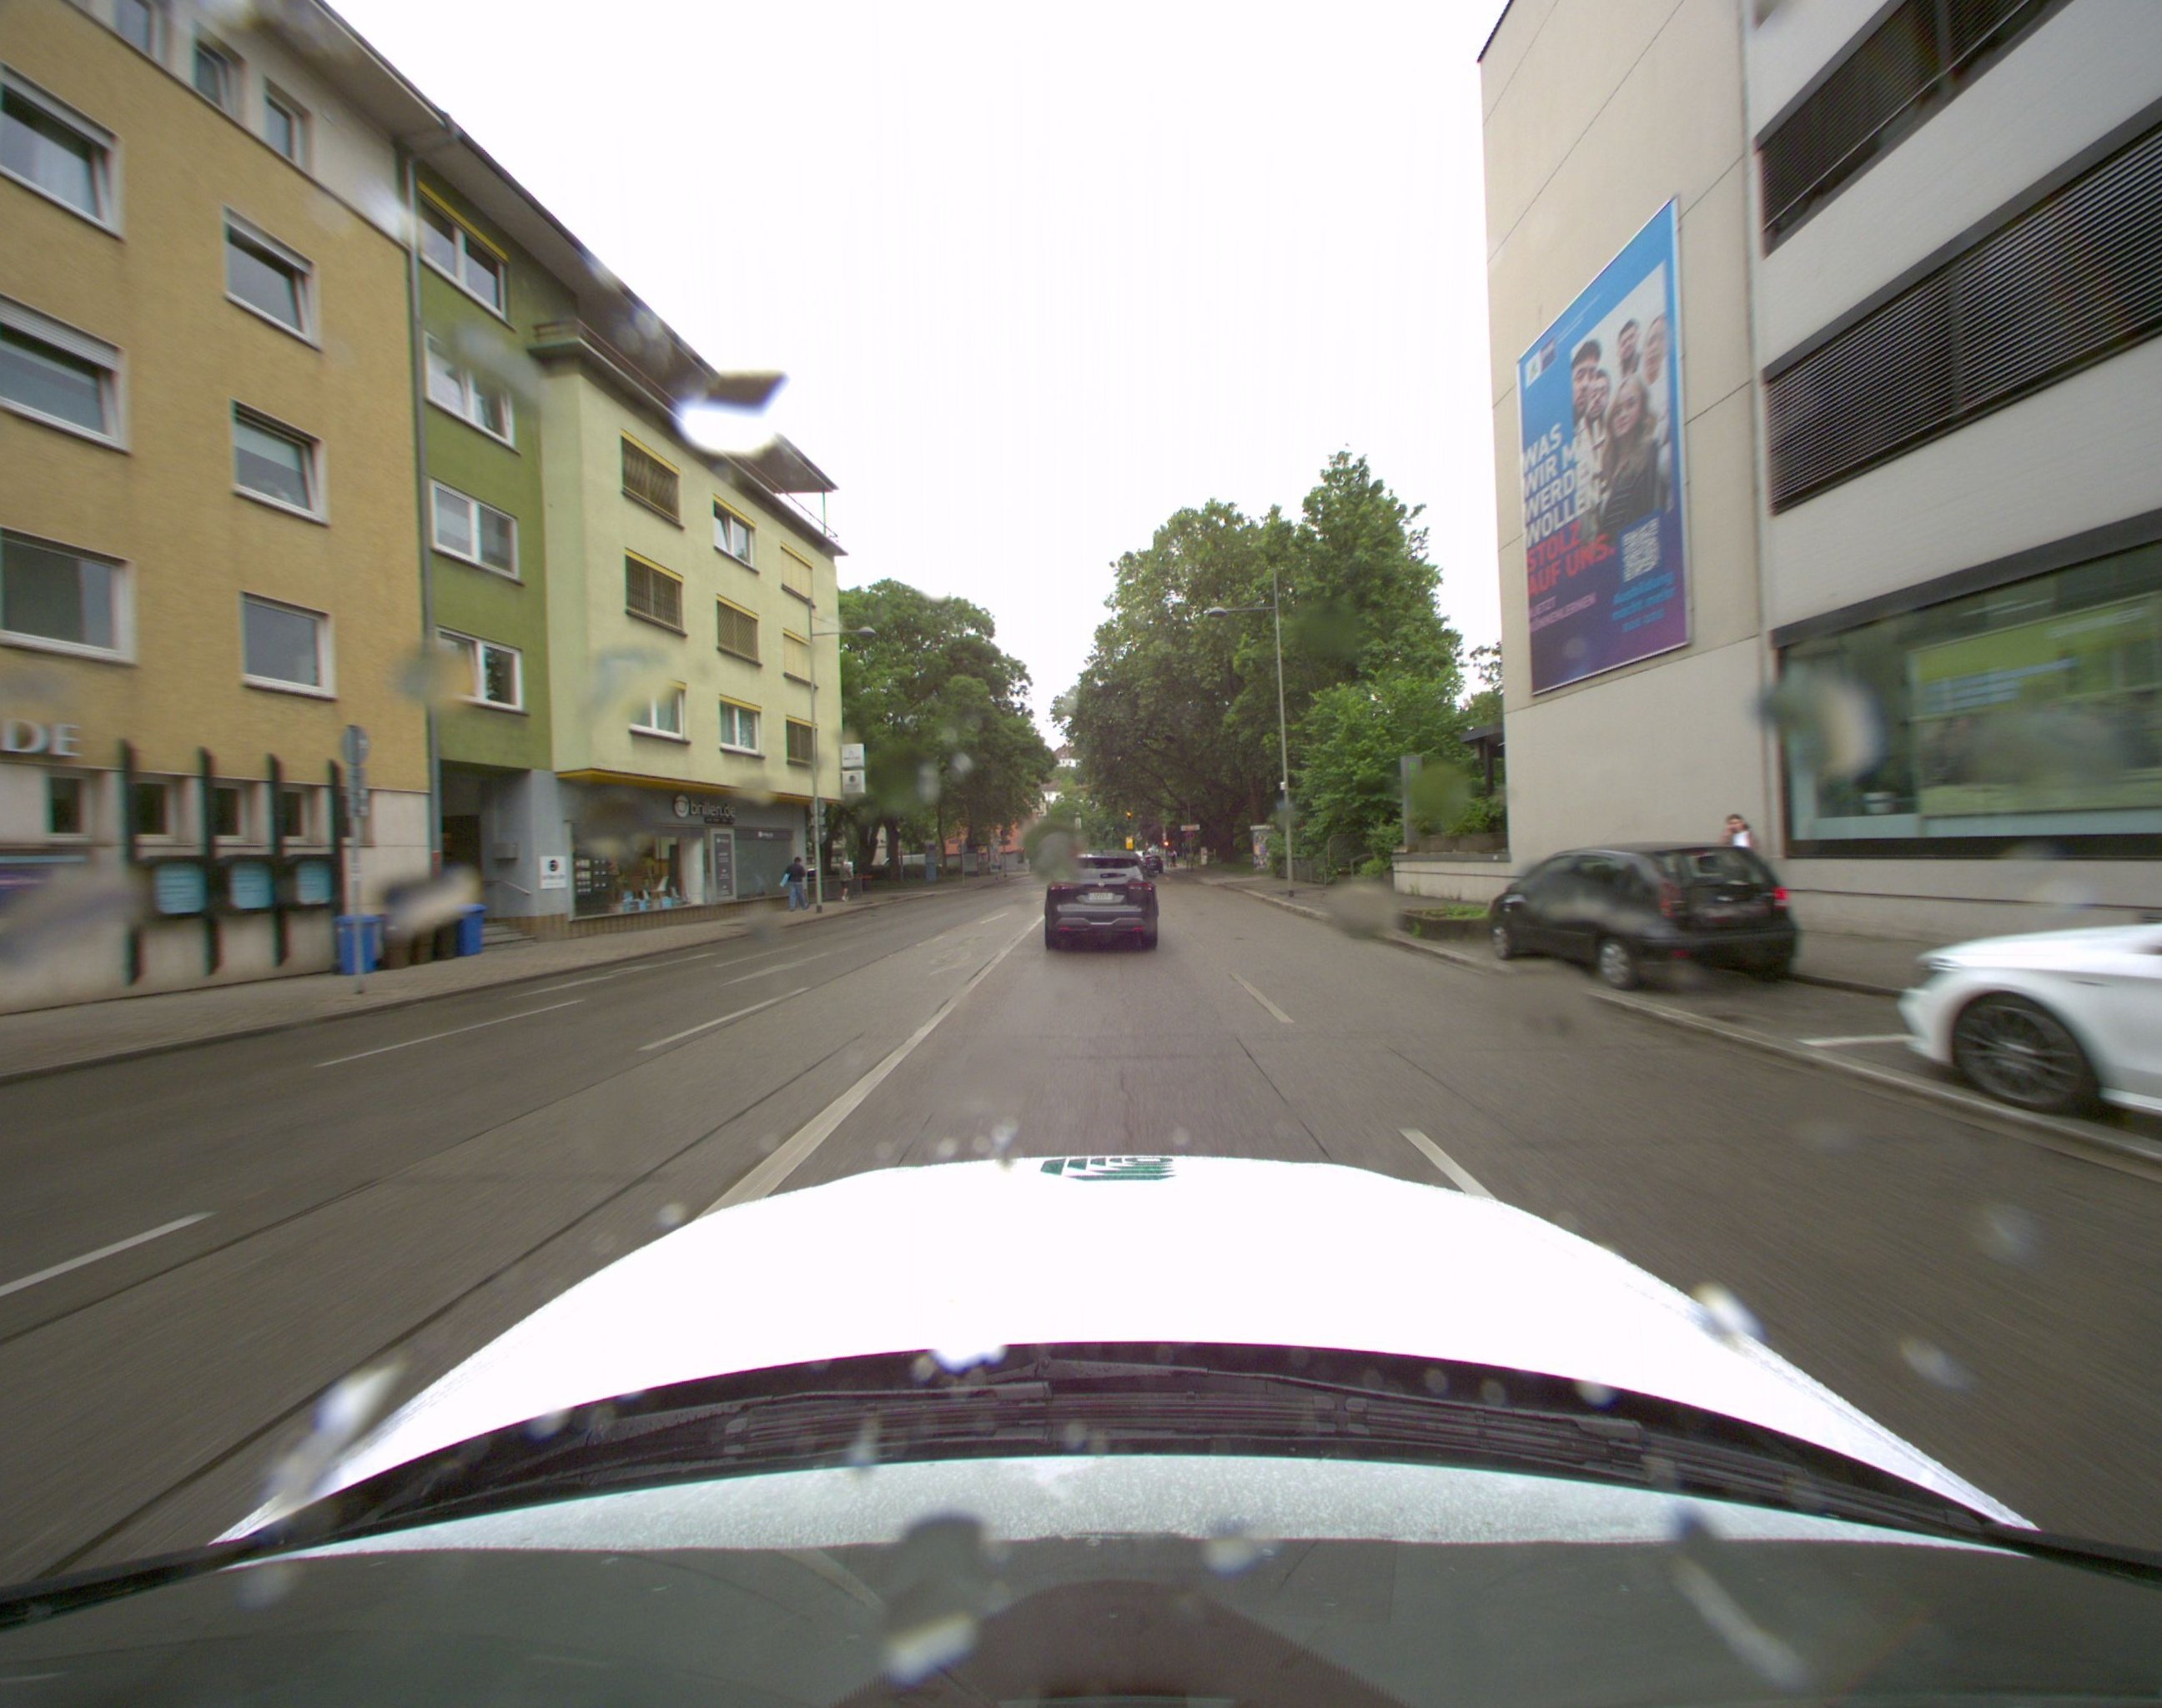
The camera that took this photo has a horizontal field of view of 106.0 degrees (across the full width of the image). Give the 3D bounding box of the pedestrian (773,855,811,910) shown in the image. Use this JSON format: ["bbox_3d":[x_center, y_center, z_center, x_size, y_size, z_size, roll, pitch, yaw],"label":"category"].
[{"bbox_3d":[-9.612,0.930,27.138,0.860,1.788,0.877,0,0,8],"label":"pedestrian"}]

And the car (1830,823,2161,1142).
[{"bbox_3d":[5.822,0.566,3.038,1.769,1.401,4.579,-4,0,0],"label":"car"}]

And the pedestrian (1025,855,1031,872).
[{"bbox_3d":[-5.610,1.014,86.230,0.665,1.791,0.720,0,0,-5],"label":"pedestrian"}]

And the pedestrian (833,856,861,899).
[{"bbox_3d":[-9.249,0.918,32.259,0.795,1.688,0.817,-2,0,1],"label":"pedestrian"}]

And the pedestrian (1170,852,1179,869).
[{"bbox_3d":[10.176,0.676,88.692,0.672,1.791,0.713,0,0,-40],"label":"pedestrian"}]

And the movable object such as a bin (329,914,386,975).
[{"bbox_3d":[-11.884,1.480,13.379,0.451,0.929,0.504,-2,0,9],"label":"movable object such as a bin"}]

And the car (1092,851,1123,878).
[{"bbox_3d":[1.856,0.733,55.386,1.937,1.685,4.003,-2,-1,3],"label":"car"}]

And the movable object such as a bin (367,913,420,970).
[{"bbox_3d":[-11.784,1.494,13.968,0.451,0.900,0.504,-2,0,9],"label":"movable object such as a bin"}]

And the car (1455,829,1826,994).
[{"bbox_3d":[6.219,0.546,9.735,1.707,1.442,4.085,-4,0,3],"label":"car"}]

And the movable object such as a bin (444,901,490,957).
[{"bbox_3d":[-11.742,1.422,15.578,0.396,1.006,0.546,-2,0,9],"label":"movable object such as a bin"}]

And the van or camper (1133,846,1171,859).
[{"bbox_3d":[20.574,-0.461,236.845,10.892,3.557,3.185,0,0,0],"label":"van or camper"}]

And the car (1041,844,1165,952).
[{"bbox_3d":[0.292,0.659,14.414,1.889,1.629,3.998,0,0,-1],"label":"car"}]

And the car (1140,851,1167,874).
[{"bbox_3d":[6.178,0.719,69.948,1.939,1.816,4.000,-4,-1,1],"label":"car"}]

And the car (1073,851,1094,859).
[{"bbox_3d":[0.654,0.276,236.050,6.060,2.355,2.421,0,0,-2],"label":"car"}]

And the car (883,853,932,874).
[{"bbox_3d":[-15.090,0.810,71.104,3.820,1.734,1.879,0,0,0],"label":"car"}]

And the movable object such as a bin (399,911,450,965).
[{"bbox_3d":[-11.695,1.496,14.521,0.451,0.900,0.504,-2,0,9],"label":"movable object such as a bin"}]

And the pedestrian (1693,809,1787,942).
[{"bbox_3d":[9.062,0.294,11.227,0.611,1.737,0.680,-4,-1,-5],"label":"pedestrian"}]

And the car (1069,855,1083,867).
[{"bbox_3d":[-0.690,1.030,120.508,1.813,1.796,3.869,0,0,3],"label":"car"}]
